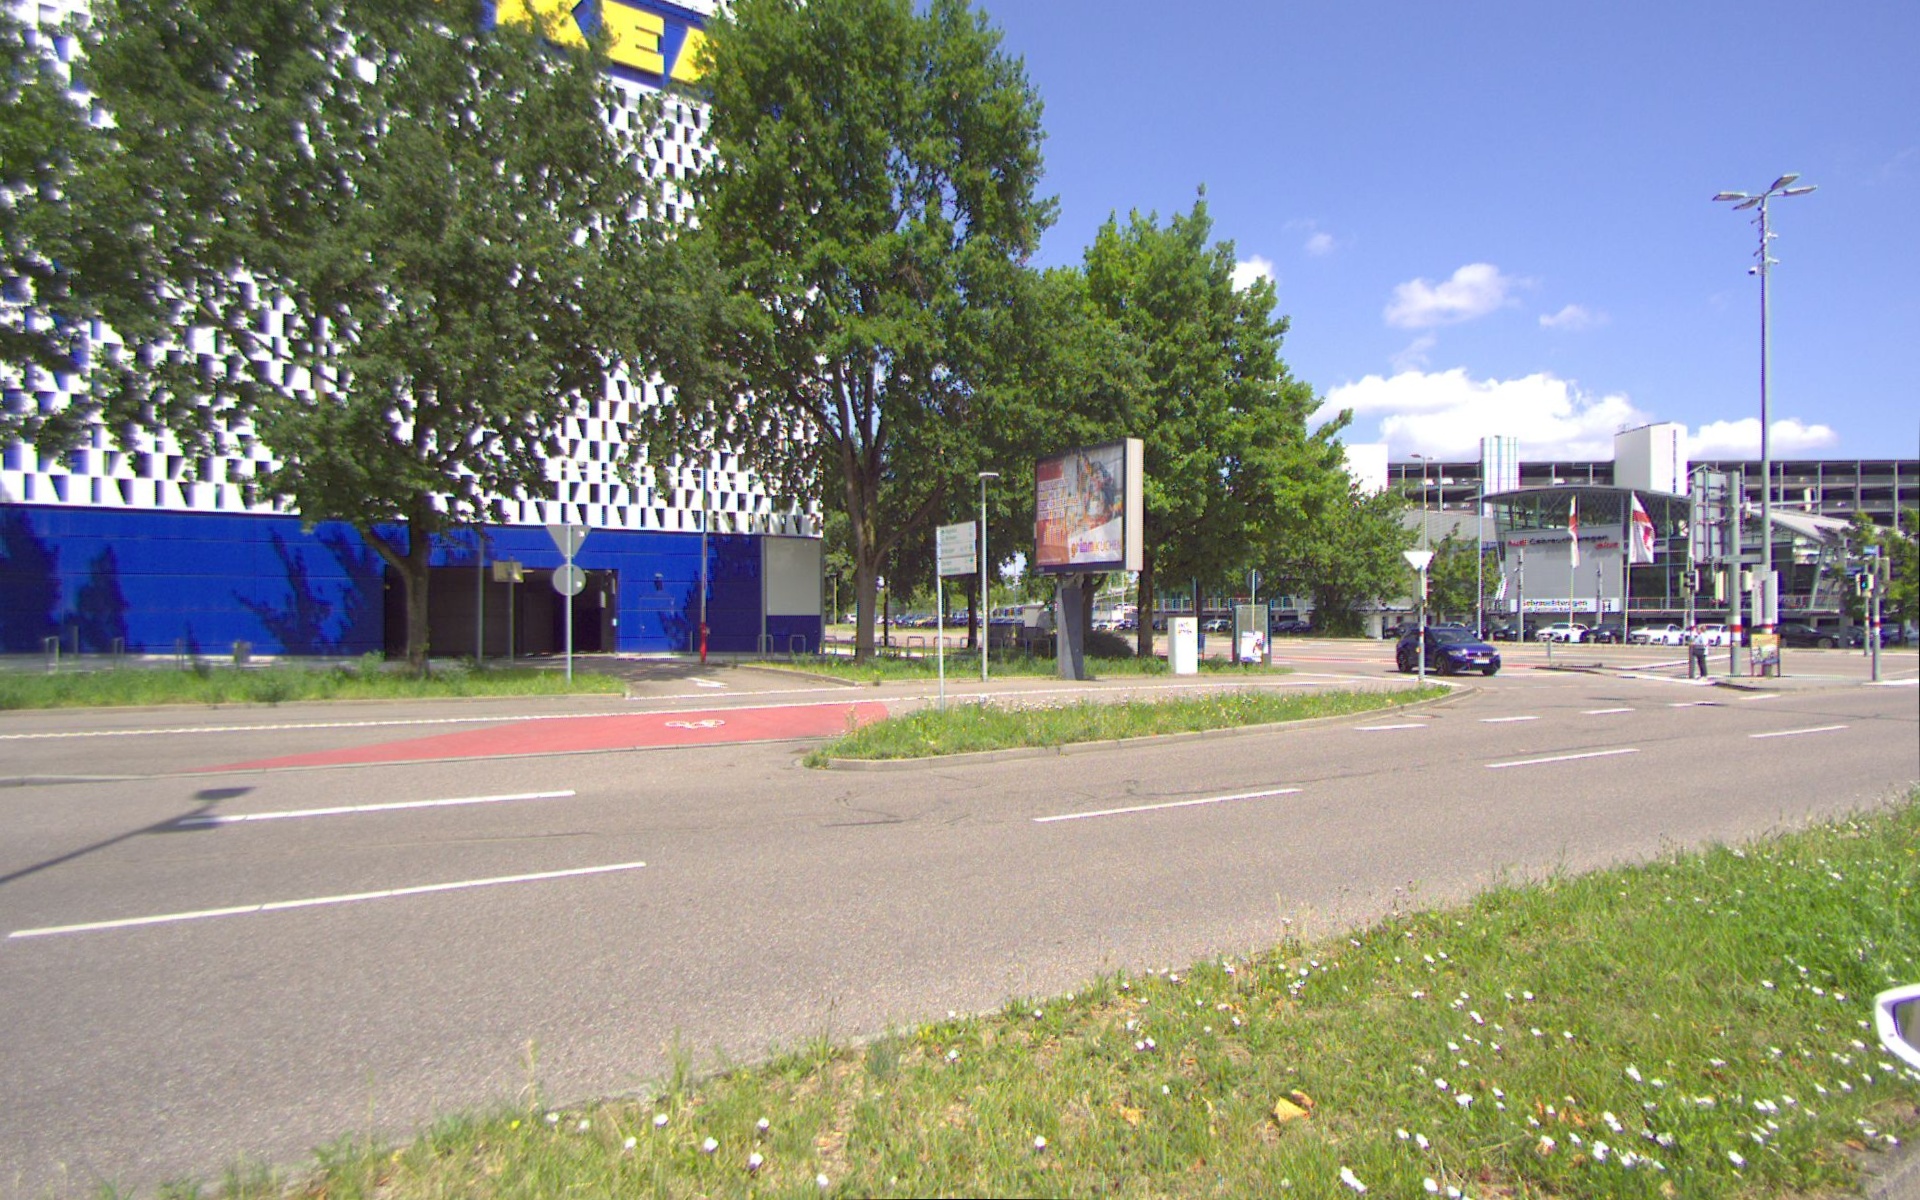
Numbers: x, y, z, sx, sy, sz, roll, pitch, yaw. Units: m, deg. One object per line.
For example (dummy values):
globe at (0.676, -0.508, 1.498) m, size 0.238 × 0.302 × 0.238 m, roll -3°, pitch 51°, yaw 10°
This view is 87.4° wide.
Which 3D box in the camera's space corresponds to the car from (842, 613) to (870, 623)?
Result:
car at (-15.350, 2.582, 148.026) m, size 3.687 × 1.409 × 1.690 m, roll 1°, pitch 0°, yaw -30°

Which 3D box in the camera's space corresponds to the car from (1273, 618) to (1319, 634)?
car at (26.582, 2.049, 79.484) m, size 3.462 × 1.207 × 1.583 m, roll 1°, pitch 0°, yaw -30°

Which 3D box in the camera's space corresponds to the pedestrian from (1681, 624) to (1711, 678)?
pedestrian at (21.168, 1.467, 28.900) m, size 0.502 × 1.532 × 0.470 m, roll 1°, pitch 0°, yaw -5°

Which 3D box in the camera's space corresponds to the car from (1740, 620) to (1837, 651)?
car at (44.844, 1.875, 54.423) m, size 1.662 × 1.533 × 3.768 m, roll 0°, pitch 0°, yaw -34°

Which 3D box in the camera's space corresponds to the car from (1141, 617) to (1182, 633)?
car at (18.398, 2.269, 91.745) m, size 3.462 × 1.409 × 1.583 m, roll 1°, pitch 0°, yaw -30°

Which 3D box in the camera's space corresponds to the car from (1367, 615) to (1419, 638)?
car at (31.458, 1.902, 72.934) m, size 3.663 × 1.508 × 1.825 m, roll 0°, pitch 0°, yaw -35°

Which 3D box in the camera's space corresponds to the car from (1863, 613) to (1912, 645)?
car at (47.551, 1.463, 51.509) m, size 1.797 × 1.573 × 3.977 m, roll 1°, pitch 0°, yaw 43°

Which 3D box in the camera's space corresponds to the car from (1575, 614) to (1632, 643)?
car at (39.927, 1.746, 62.306) m, size 3.579 × 1.683 × 1.746 m, roll 0°, pitch 0°, yaw -34°

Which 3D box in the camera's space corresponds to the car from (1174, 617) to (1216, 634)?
car at (20.744, 2.248, 88.529) m, size 3.462 × 1.409 × 1.583 m, roll 1°, pitch 0°, yaw -30°

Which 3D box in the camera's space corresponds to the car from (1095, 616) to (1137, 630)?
car at (15.734, 2.312, 101.188) m, size 3.952 × 1.271 × 1.789 m, roll 0°, pitch 0°, yaw -30°

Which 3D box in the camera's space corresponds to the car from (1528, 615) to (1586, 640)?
car at (38.483, 1.732, 64.717) m, size 3.663 × 1.506 × 1.867 m, roll 0°, pitch 0°, yaw -35°

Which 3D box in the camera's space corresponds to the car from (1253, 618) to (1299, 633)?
car at (25.616, 2.069, 81.400) m, size 3.462 × 1.207 × 1.583 m, roll 1°, pitch 0°, yaw -30°

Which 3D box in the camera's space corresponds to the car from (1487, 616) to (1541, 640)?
car at (37.030, 1.836, 67.140) m, size 3.662 × 1.506 × 1.717 m, roll 0°, pitch 0°, yaw -34°

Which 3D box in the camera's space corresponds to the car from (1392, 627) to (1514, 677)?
car at (17.007, 1.759, 34.870) m, size 1.962 × 1.530 × 3.997 m, roll -2°, pitch -1°, yaw -5°

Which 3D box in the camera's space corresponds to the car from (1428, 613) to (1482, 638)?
car at (34.656, 1.759, 70.305) m, size 3.753 × 1.686 × 1.804 m, roll 1°, pitch 0°, yaw -34°

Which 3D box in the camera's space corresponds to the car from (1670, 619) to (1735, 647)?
car at (42.843, 1.868, 57.935) m, size 3.987 × 1.469 × 1.765 m, roll 0°, pitch 0°, yaw -34°

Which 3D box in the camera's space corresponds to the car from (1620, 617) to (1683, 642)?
car at (41.505, 1.770, 60.295) m, size 3.712 × 1.394 × 1.896 m, roll 0°, pitch 0°, yaw -34°
